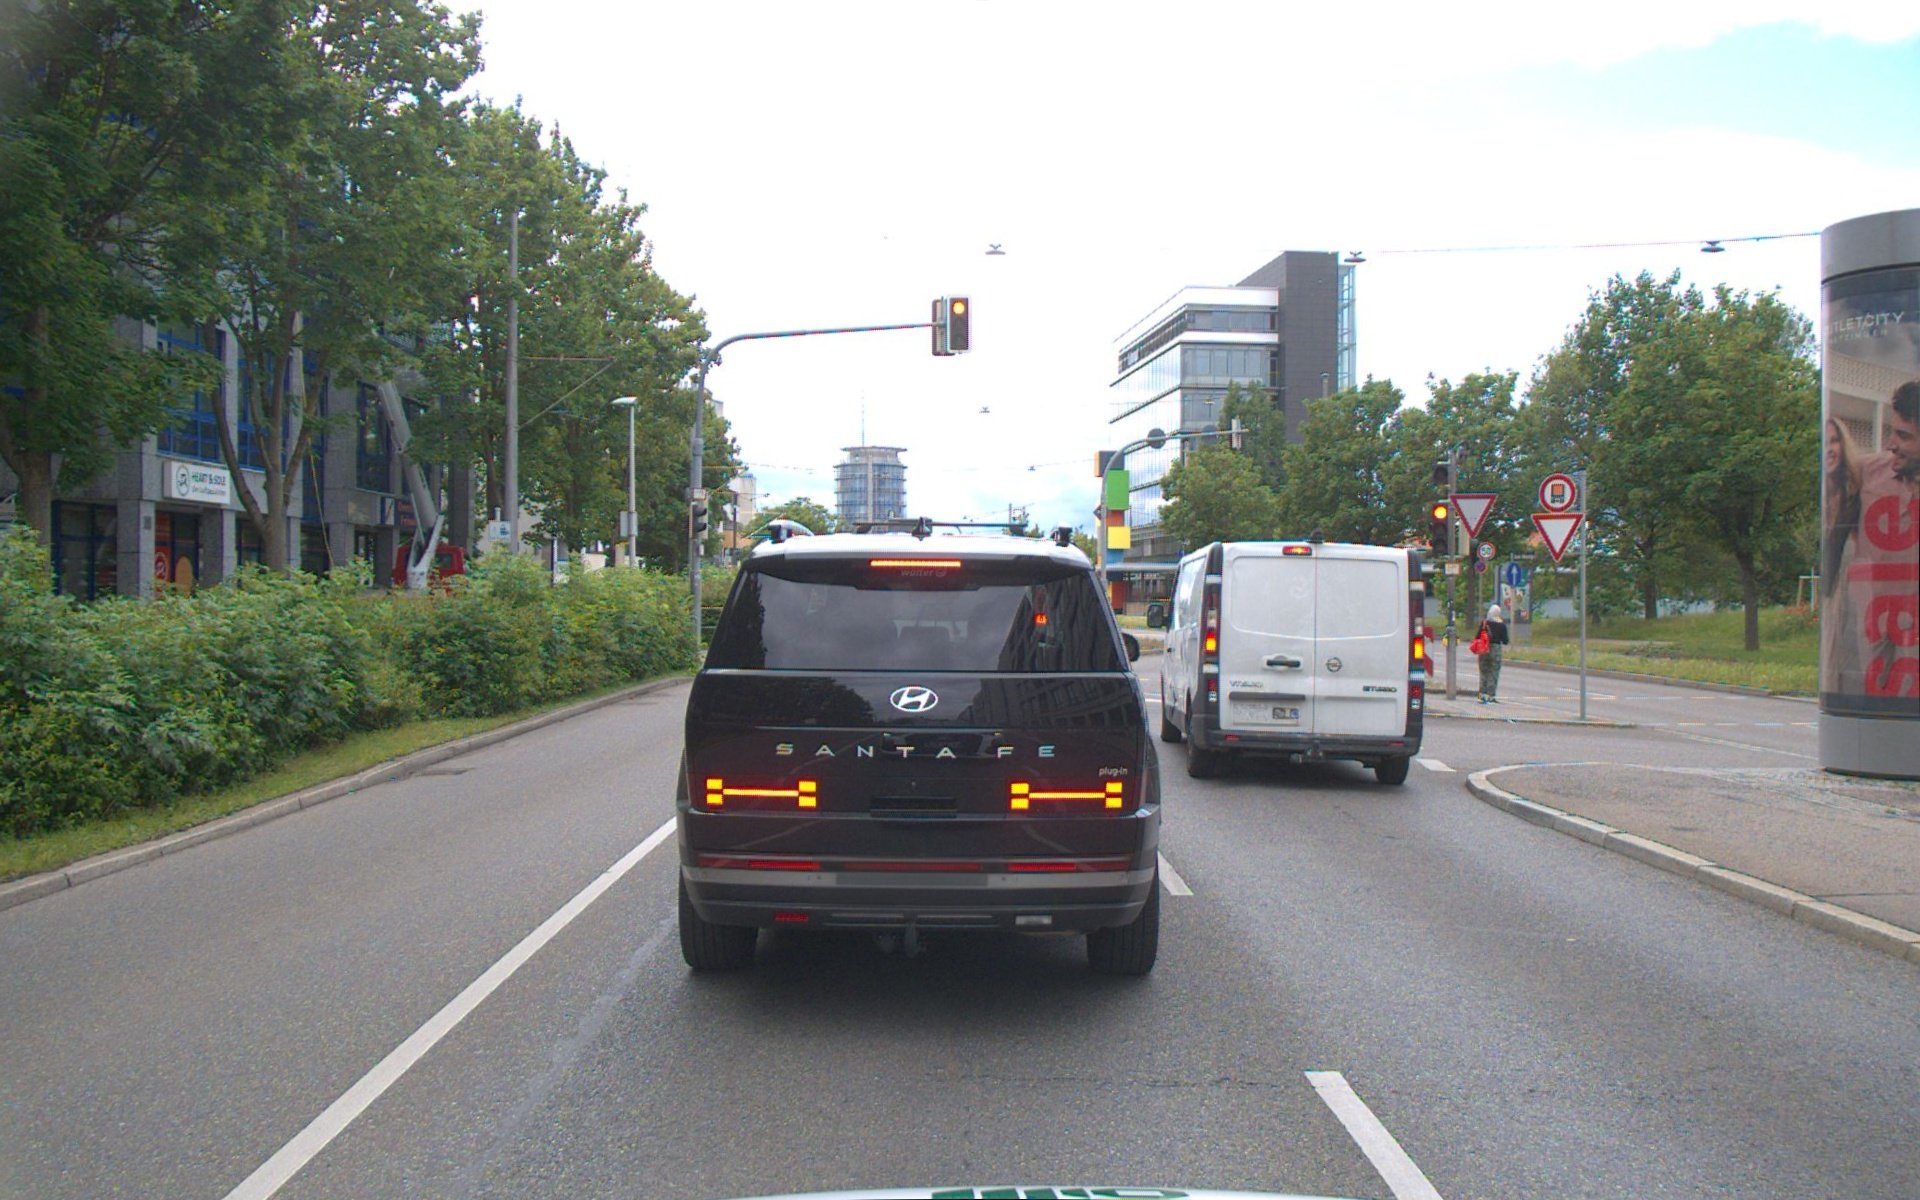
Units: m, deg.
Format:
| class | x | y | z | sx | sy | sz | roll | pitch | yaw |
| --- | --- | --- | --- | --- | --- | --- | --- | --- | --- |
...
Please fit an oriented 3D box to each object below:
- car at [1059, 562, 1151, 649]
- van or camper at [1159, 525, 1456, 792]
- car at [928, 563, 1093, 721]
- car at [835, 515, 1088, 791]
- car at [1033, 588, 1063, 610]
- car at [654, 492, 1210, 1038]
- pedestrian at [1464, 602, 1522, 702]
| class | x | y | z | sx | sy | sz | roll | pitch | yaw |
| --- | --- | --- | --- | --- | --- | --- | --- | --- | --- |
| car | 3.550 | 0.142 | 41.175 | 1.952 | 2.049 | 4.000 | 1 | 0 | 0 |
| van or camper | 2.972 | 0.439 | 15.165 | 1.952 | 2.049 | 4.654 | 1 | 0 | 3 |
| car | 0.738 | 0.481 | 20.782 | 1.738 | 1.747 | 4.341 | 1 | 0 | 6 |
| car | -0.013 | 0.379 | 14.195 | 1.876 | 2.038 | 3.879 | 0 | 0 | -1 |
| car | 7.026 | -0.048 | 132.608 | 1.954 | 1.713 | 3.997 | 1 | 0 | -3 |
| car | -0.114 | 0.530 | 7.385 | 1.831 | 1.791 | 3.879 | 0 | 0 | -1 |
| pedestrian | 8.801 | 0.850 | 27.329 | 0.733 | 1.612 | 0.565 | 2 | 0 | -41 |
